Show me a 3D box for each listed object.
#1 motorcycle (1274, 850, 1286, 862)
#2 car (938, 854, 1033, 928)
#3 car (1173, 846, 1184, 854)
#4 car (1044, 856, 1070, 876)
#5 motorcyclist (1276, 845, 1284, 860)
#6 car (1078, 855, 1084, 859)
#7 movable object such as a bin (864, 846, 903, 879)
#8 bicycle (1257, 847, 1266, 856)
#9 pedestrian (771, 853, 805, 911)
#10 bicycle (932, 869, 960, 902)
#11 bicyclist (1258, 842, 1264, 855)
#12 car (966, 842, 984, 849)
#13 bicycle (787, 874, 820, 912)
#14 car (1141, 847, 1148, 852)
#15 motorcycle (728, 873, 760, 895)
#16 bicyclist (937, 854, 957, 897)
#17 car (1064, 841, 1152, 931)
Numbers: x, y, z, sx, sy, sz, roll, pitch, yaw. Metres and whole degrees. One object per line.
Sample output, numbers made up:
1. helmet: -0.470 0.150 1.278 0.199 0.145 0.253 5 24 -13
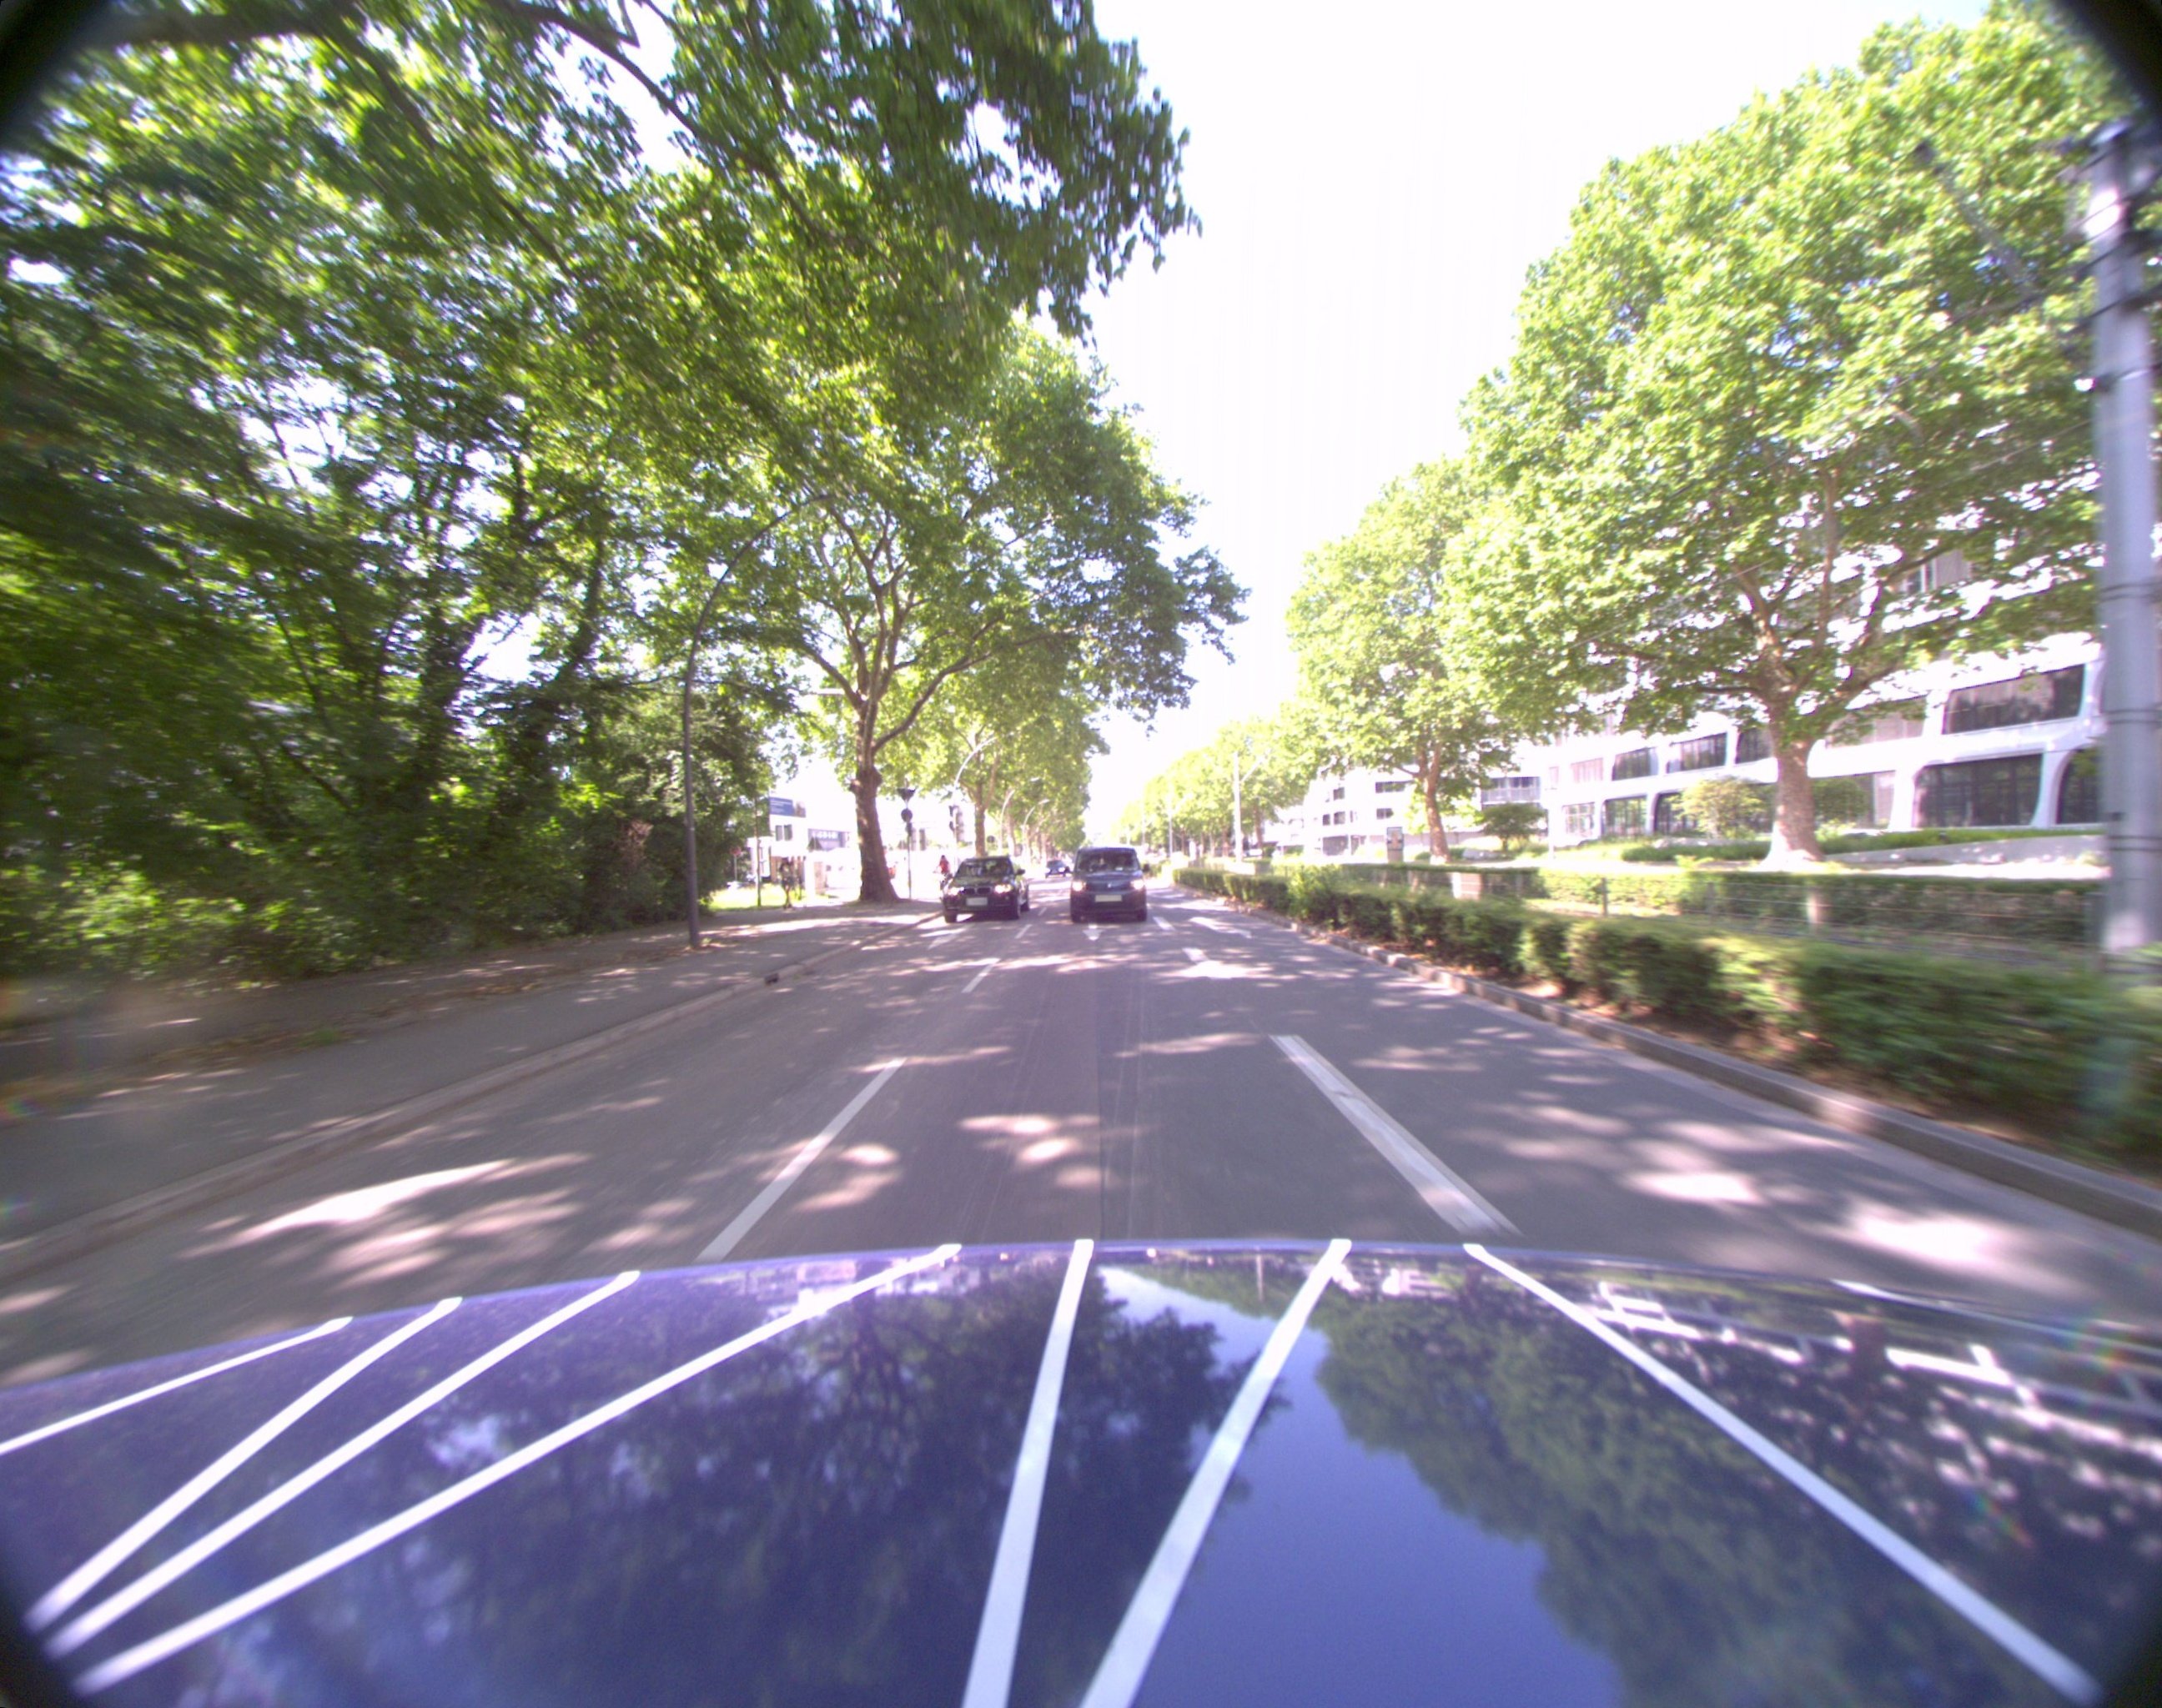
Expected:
1. motorcycle: 19.658 0.192 75.099 0.634 1.168 2.000 -2 0 1
2. car: -2.527 0.929 21.124 1.924 1.720 4.151 -3 0 1
3. car: 19.396 -0.754 151.738 1.761 1.560 4.019 -3 0 1
4. car: -1.963 0.987 63.985 1.854 1.418 4.152 -3 0 2
5. motorcyclist: 19.650 -0.181 75.154 0.582 1.449 0.533 -2 1 1
6. car: -0.082 0.991 245.070 1.860 1.445 3.999 -3 0 -1
7. movable object such as a bin: -19.494 0.845 75.278 2.375 3.054 5.984 -3 0 -2
8. bicycle: 23.331 -0.349 98.450 0.665 1.118 2.031 -3 0 2
9. pedestrian: -9.271 0.882 24.037 0.633 1.775 0.874 -3 1 1
10. bicycle: -5.080 1.160 28.628 0.653 1.123 1.945 -1 1 1
11. bicyclist: 23.310 -0.713 98.341 0.656 1.526 0.641 -3 1 2
12. car: -25.243 -2.113 181.561 3.998 1.501 1.808 -3 0 -2
13. bicycle: -8.871 1.230 24.364 0.350 1.075 1.699 -3 0 1
14. car: 19.092 -1.302 228.031 1.820 1.482 3.912 0 0 -1
15. motorcycle: -15.617 1.379 35.248 1.223 0.962 0.471 -3 1 -5
16. bicyclist: -5.056 0.796 28.682 0.621 1.590 0.732 0 1 -1
17. car: 0.637 0.663 17.958 1.789 1.839 4.000 -1 0 2
